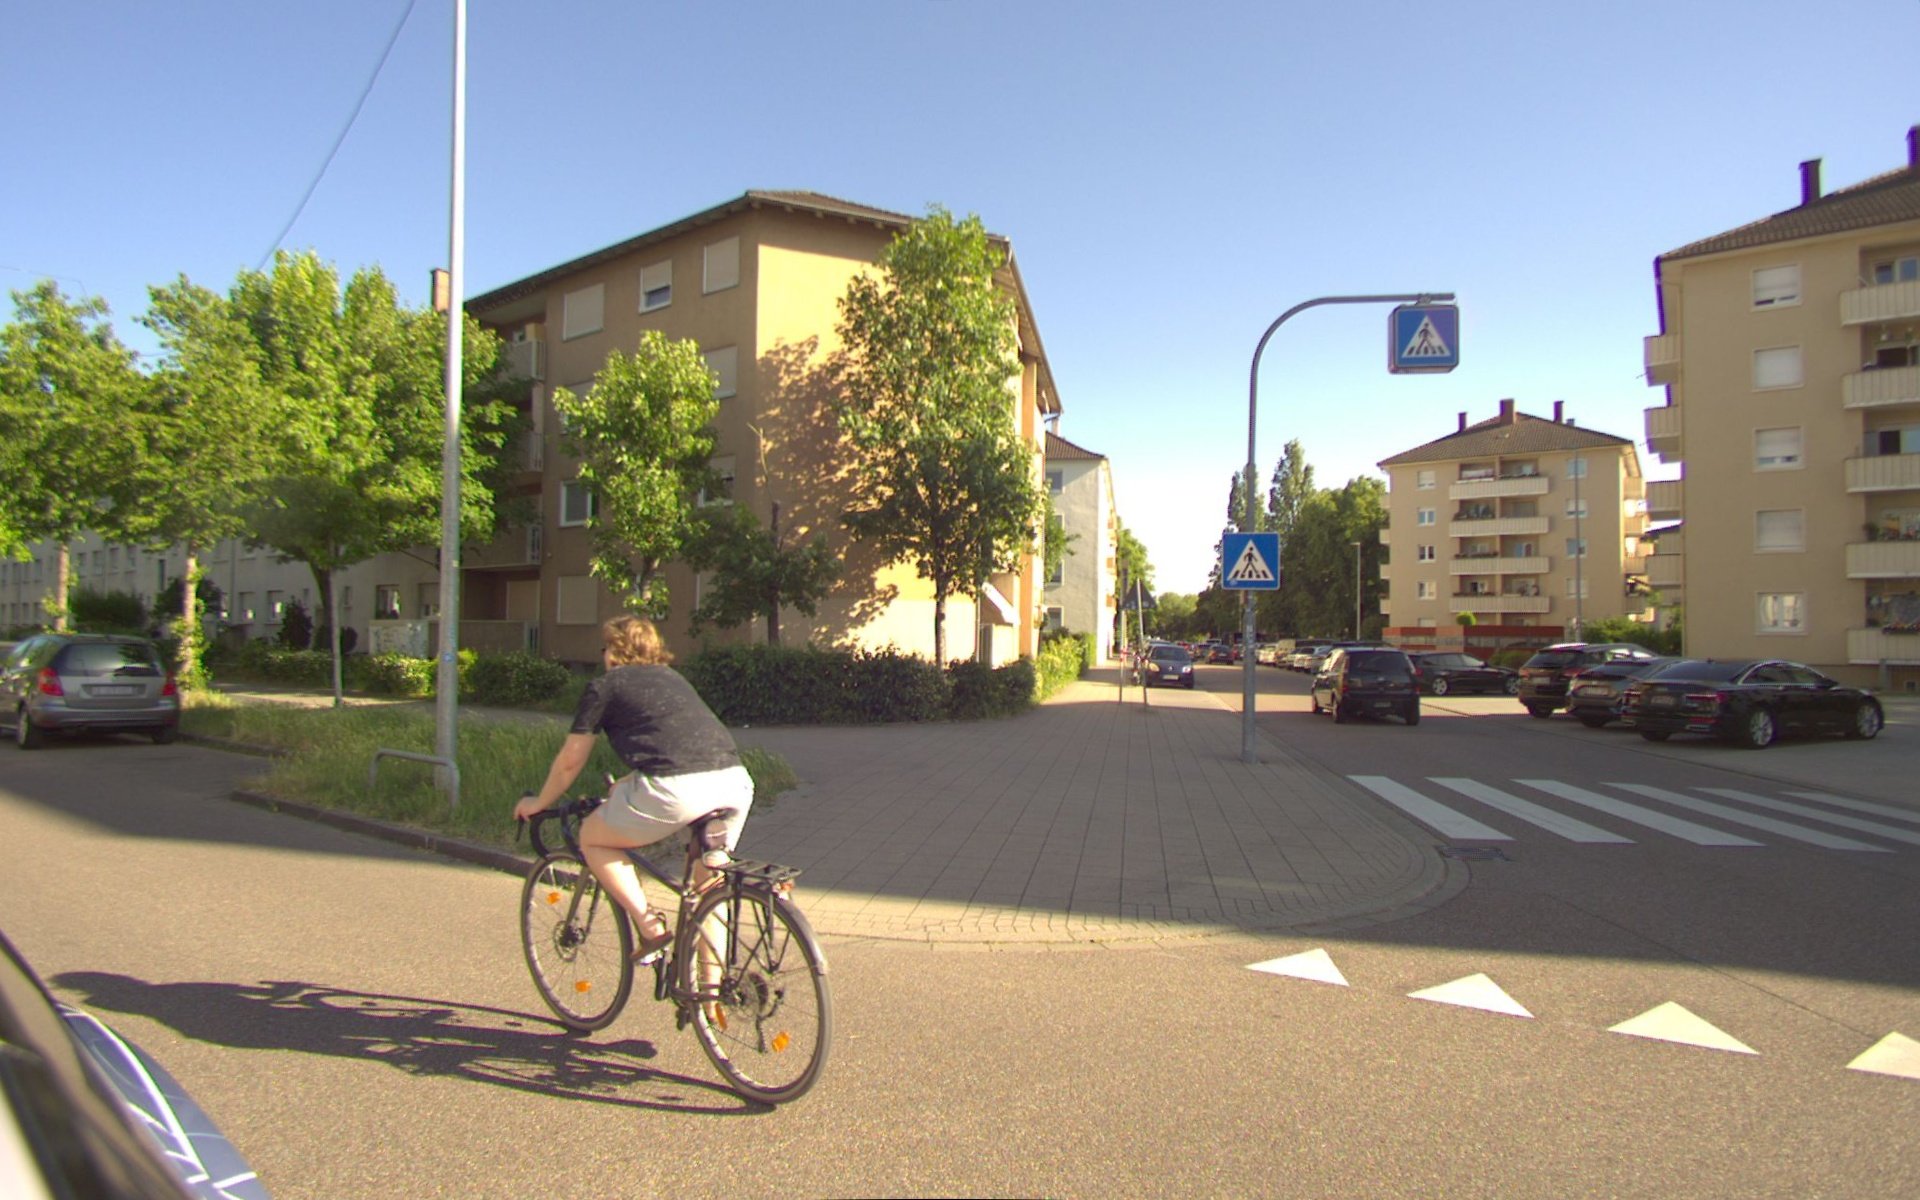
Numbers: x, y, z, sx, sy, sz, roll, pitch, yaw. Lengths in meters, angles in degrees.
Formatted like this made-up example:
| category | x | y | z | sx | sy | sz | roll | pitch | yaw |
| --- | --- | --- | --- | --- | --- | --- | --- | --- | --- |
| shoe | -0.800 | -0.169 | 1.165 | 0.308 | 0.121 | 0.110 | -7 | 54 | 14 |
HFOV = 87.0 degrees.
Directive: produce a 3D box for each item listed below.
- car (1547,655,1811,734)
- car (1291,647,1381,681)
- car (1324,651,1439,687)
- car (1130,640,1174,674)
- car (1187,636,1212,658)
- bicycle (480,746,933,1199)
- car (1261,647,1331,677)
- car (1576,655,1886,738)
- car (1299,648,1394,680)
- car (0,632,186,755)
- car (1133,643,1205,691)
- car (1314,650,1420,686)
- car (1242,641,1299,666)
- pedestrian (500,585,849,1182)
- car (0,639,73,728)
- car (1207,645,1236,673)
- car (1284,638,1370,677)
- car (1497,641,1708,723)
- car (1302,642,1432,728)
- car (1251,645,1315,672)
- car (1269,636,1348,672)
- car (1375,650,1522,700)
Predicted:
| category | x | y | z | sx | sy | sz | roll | pitch | yaw |
| --- | --- | --- | --- | --- | --- | --- | --- | --- | --- |
| car | 14.345 | 1.843 | 20.240 | 4.485 | 1.442 | 2.006 | 2 | -3 | -18 |
| car | 19.827 | 3.387 | 53.512 | 3.940 | 1.652 | 2.002 | 0 | 0 | -3 |
| car | 17.566 | 2.867 | 42.265 | 3.935 | 1.320 | 2.004 | 0 | -1 | -10 |
| car | 9.754 | 2.883 | 51.735 | 1.977 | 1.475 | 3.990 | -2 | -1 | 8 |
| car | 22.208 | 4.337 | 93.787 | 1.978 | 1.852 | 3.988 | 0 | 0 | 10 |
| bicycle | -0.952 | 1.109 | 3.381 | 1.920 | 1.019 | 0.542 | -1 | -2 | 45 |
| car | 22.148 | 4.084 | 66.838 | 3.946 | 1.852 | 1.999 | 0 | 0 | 3 |
| car | 13.187 | 1.590 | 17.364 | 4.485 | 1.176 | 2.006 | 0 | -3 | -18 |
| car | 19.385 | 3.197 | 50.816 | 3.935 | 1.408 | 2.004 | 0 | 0 | -10 |
| car | -13.383 | 1.297 | 15.142 | 4.100 | 1.574 | 1.705 | 0 | -3 | 36 |
| car | 7.324 | 2.325 | 35.769 | 1.884 | 1.526 | 3.996 | 1 | -3 | 3 |
| car | 18.209 | 3.016 | 45.319 | 3.932 | 1.264 | 2.006 | -2 | 0 | -16 |
| car | 24.858 | 4.272 | 81.119 | 3.946 | 1.852 | 1.999 | 0 | 0 | 3 |
| pedestrian | -0.981 | 0.787 | 3.414 | 1.046 | 1.652 | 0.683 | -1 | -1 | 42 |
| car | -17.922 | 1.484 | 18.531 | 4.083 | 1.405 | 1.645 | 0 | 0 | 35 |
| car | 19.491 | 4.381 | 75.322 | 1.982 | 1.852 | 3.979 | 0 | 0 | 16 |
| car | 20.305 | 3.174 | 56.062 | 3.936 | 2.029 | 2.004 | 0 | 0 | -8 |
| car | 14.504 | 1.800 | 22.896 | 3.931 | 1.664 | 2.006 | 0 | -3 | -21 |
| car | 8.845 | 1.787 | 22.339 | 1.723 | 1.541 | 4.103 | 0 | 0 | 8 |
| car | 23.288 | 4.241 | 73.126 | 3.946 | 1.852 | 1.999 | 0 | 0 | 3 |
| car | 20.631 | 3.185 | 60.043 | 3.935 | 2.029 | 2.004 | 0 | 0 | -10 |
| car | 15.920 | 2.416 | 33.040 | 3.933 | 1.412 | 2.005 | 0 | 0 | -14 |
